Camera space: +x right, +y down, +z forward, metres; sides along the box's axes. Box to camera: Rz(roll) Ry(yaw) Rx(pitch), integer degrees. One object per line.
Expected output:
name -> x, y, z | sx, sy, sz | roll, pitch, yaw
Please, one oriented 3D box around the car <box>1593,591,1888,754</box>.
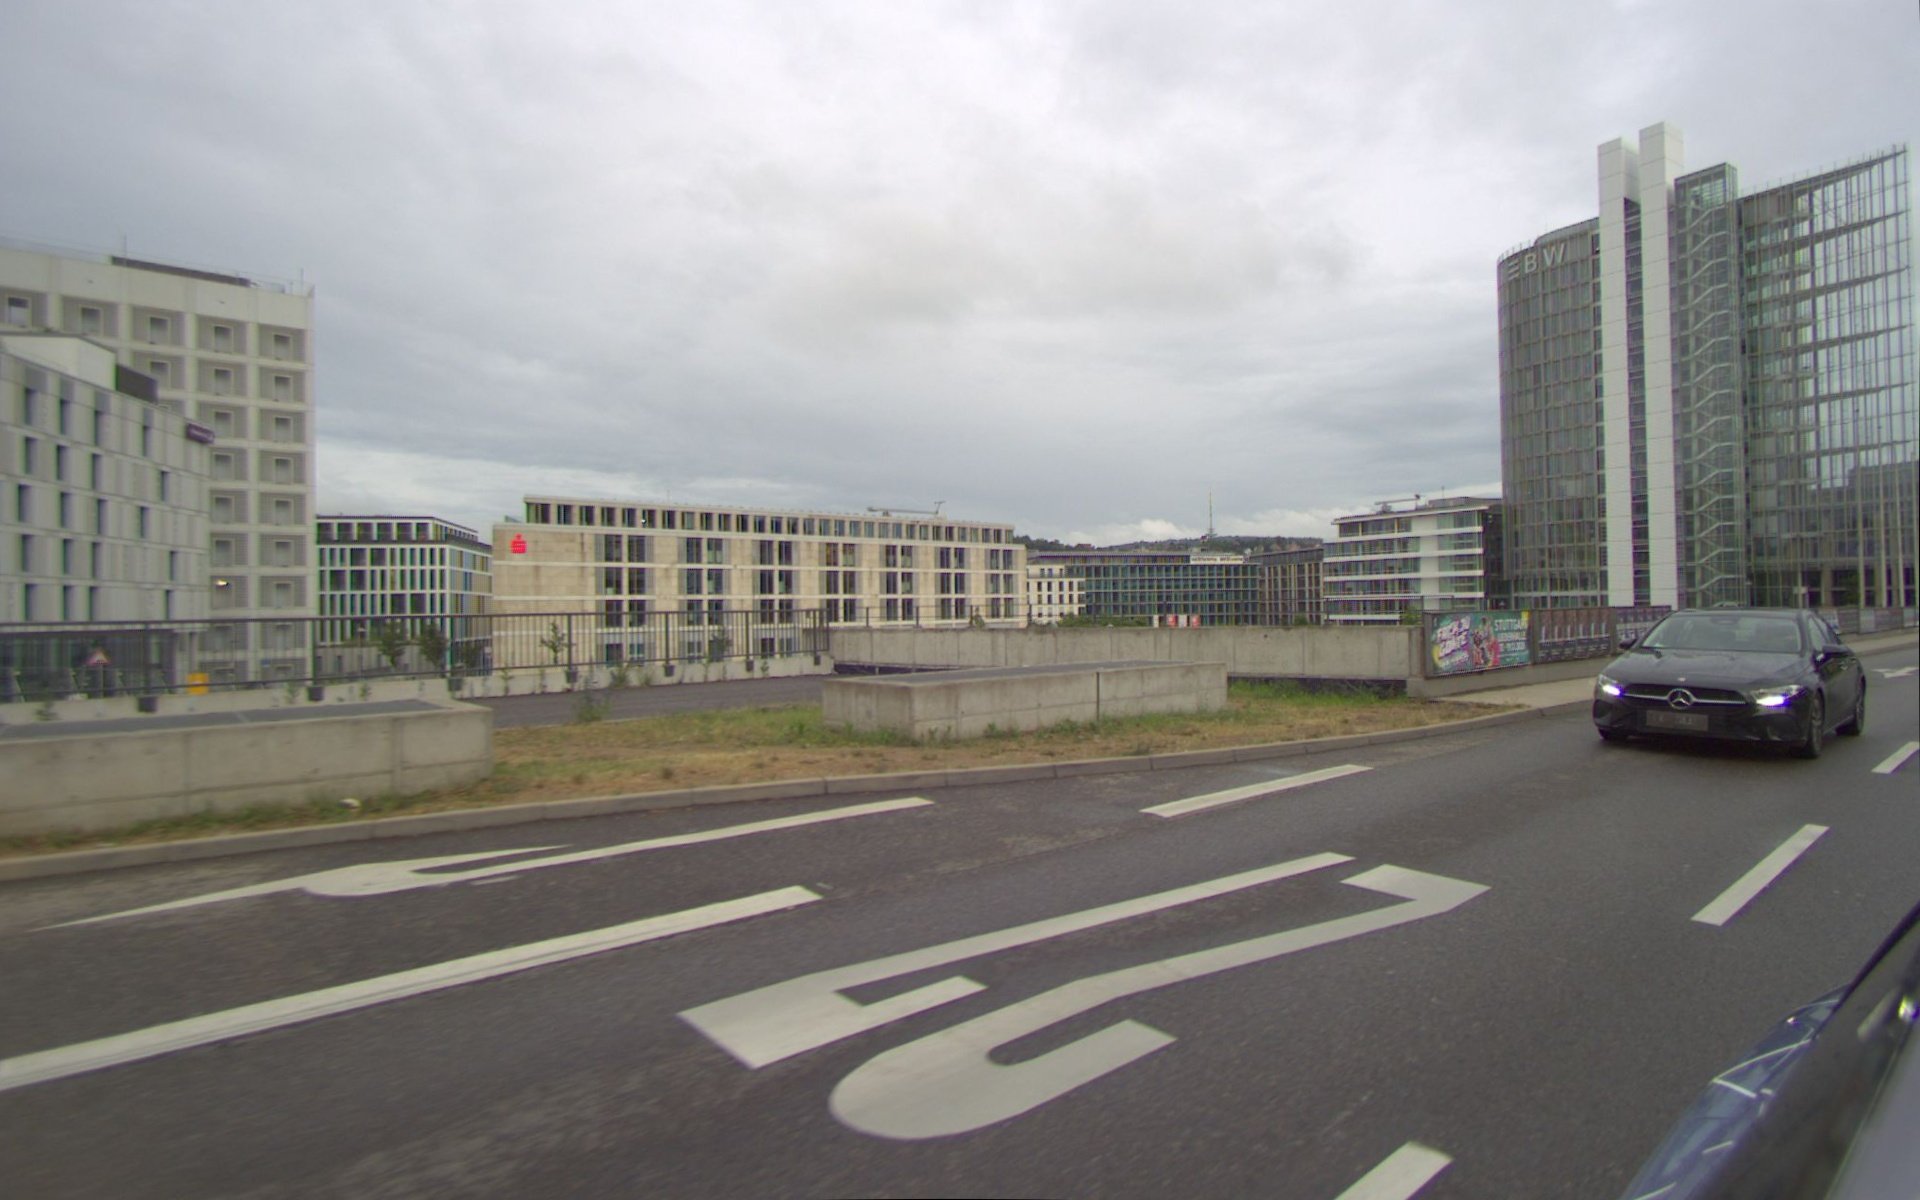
car -> 8.359, 0.626, 10.709 | 4.083, 1.393, 1.726 | 0, 0, -41
